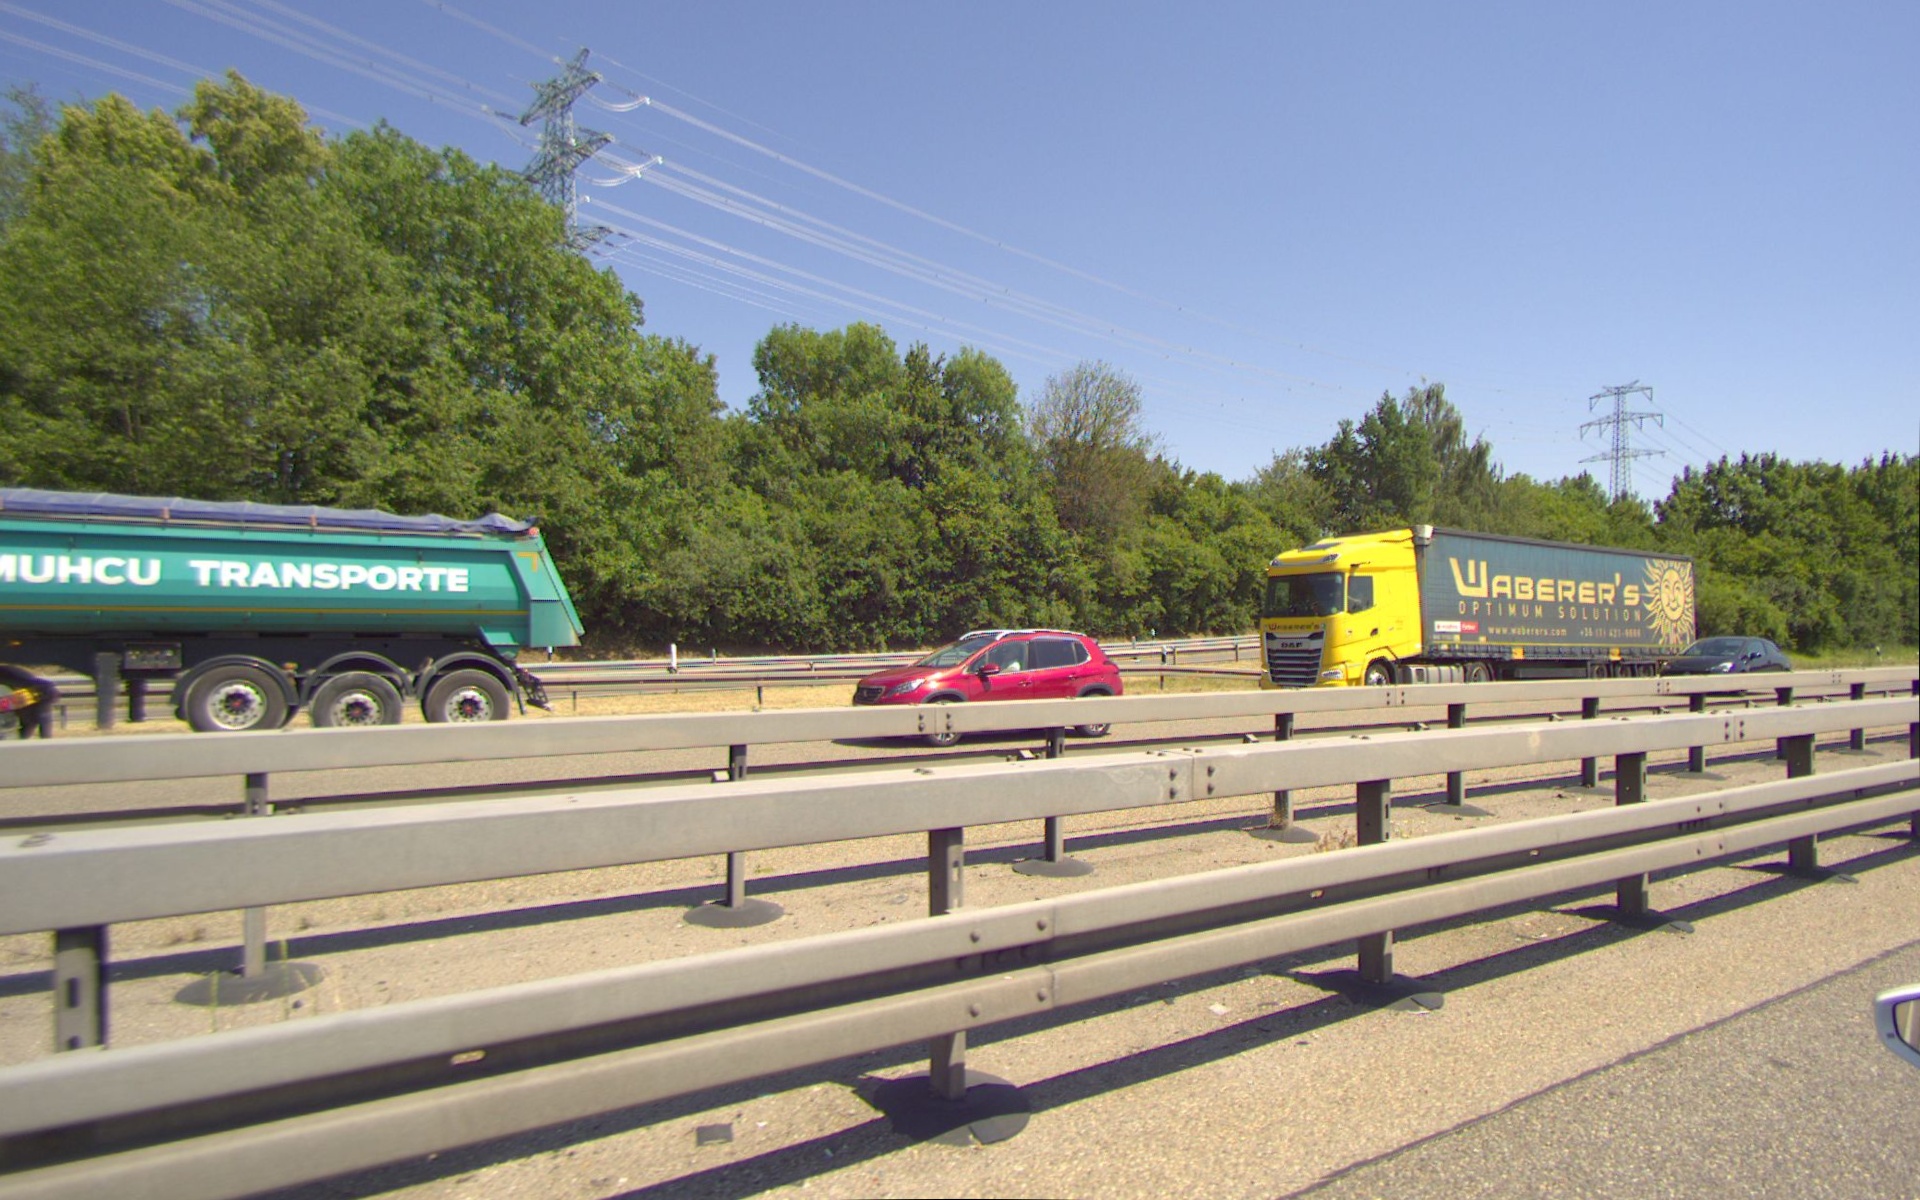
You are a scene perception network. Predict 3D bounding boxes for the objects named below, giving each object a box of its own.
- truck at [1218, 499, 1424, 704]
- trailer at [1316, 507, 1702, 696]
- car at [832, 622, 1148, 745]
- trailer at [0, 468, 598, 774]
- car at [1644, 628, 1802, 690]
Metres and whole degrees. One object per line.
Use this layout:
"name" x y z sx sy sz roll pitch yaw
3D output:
"truck" 8.547 0.089 23.890 3.473 4.398 3.159 1 -1 -31
"trailer" 15.909 0.187 28.340 13.654 4.398 3.159 1 -1 -31
"car" 0.486 1.157 14.573 4.334 1.550 1.773 1 -4 -31
"trailer" -9.985 0.281 13.004 9.597 3.344 2.900 1 -1 -31
"car" 19.620 1.488 25.800 4.095 1.488 1.705 1 -3 -29
